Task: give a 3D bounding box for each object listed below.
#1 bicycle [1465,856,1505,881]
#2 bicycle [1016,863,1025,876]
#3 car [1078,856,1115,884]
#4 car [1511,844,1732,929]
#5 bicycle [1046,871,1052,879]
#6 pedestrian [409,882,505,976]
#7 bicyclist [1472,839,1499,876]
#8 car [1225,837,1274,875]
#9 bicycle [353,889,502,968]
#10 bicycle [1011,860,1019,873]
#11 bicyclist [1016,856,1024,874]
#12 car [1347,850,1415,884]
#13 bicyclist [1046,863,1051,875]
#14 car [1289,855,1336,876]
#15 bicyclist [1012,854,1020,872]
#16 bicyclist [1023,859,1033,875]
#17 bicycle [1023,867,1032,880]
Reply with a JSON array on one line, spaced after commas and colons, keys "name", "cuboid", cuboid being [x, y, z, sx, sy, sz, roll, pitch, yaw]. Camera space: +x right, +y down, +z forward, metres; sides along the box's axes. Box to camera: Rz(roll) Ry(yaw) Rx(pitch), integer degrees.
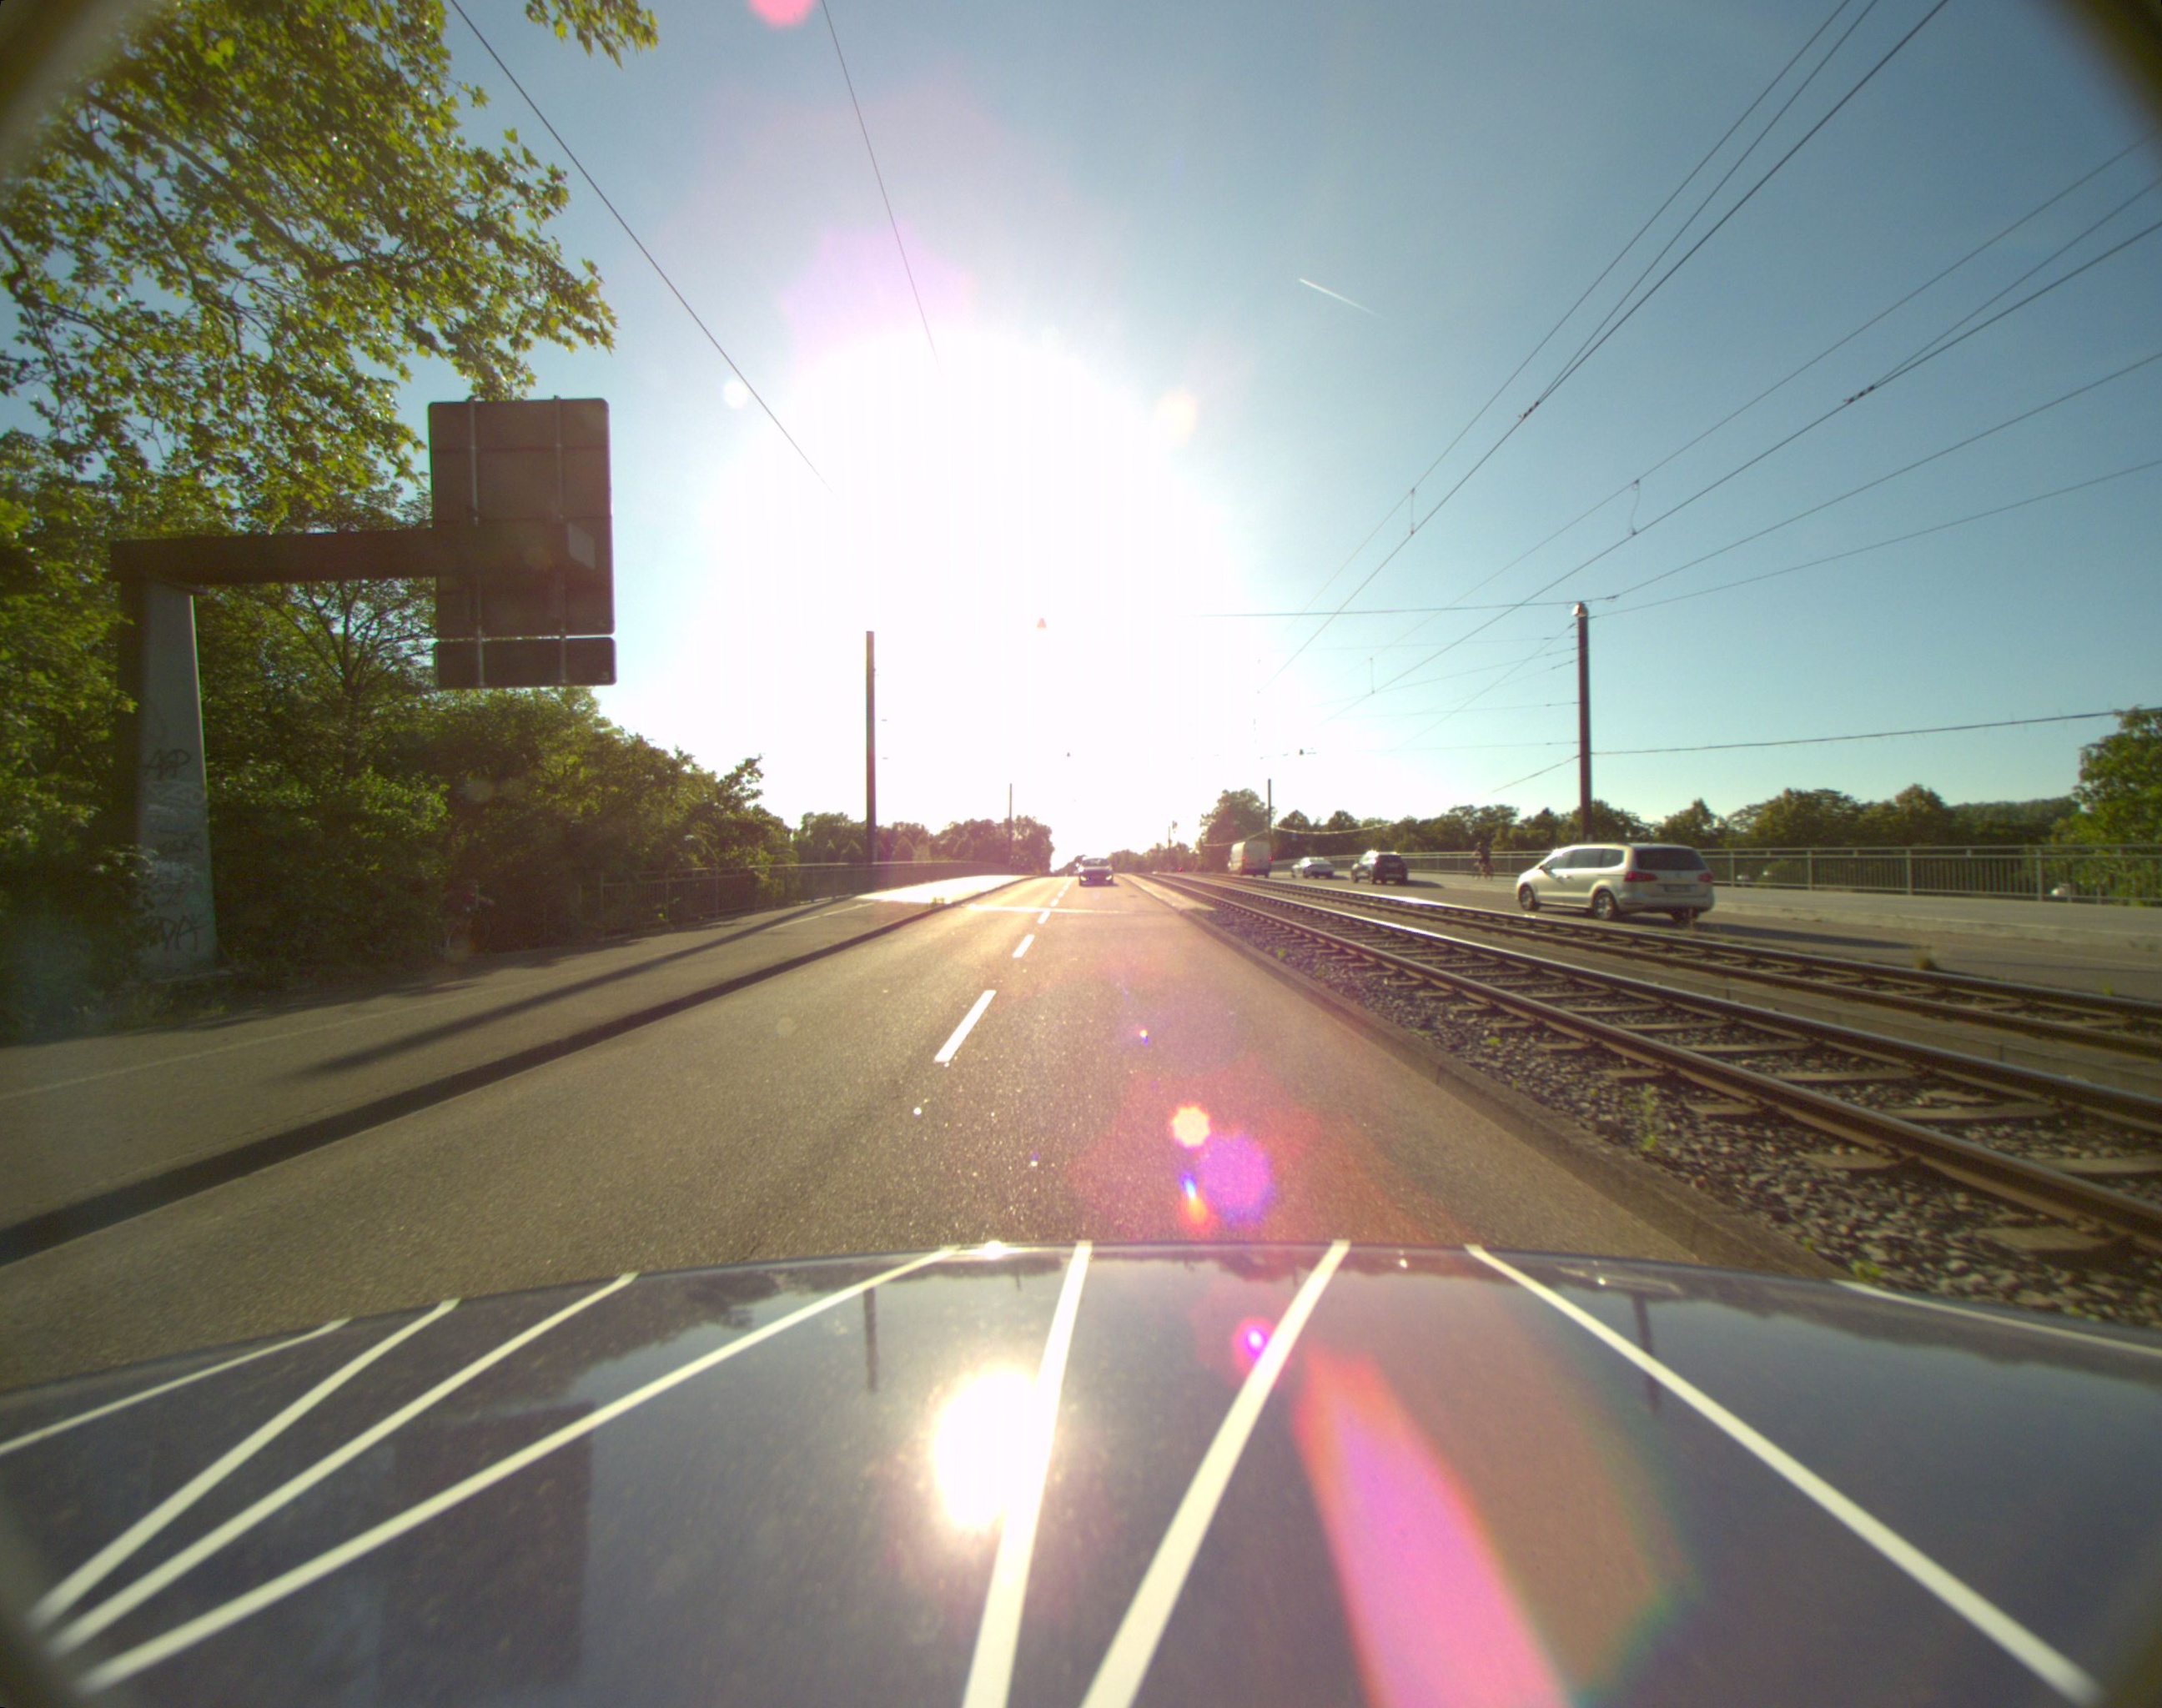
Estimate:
[{"name": "bicycle", "cuboid": [18.502, 0.644, 34.833, 0.681, 1.091, 2.100, -3, 0, 1]}, {"name": "bicycle", "cuboid": [-5.481, 1.419, 69.254, 0.626, 1.115, 2.042, -1, -1, 0]}, {"name": "car", "cuboid": [0.749, 0.853, 38.692, 1.801, 1.345, 4.001, 0, -2, 0]}, {"name": "car", "cuboid": [12.096, 0.657, 17.470, 1.877, 1.655, 4.597, 1, 0, 2]}, {"name": "bicycle", "cuboid": [-4.821, 3.206, 114.650, 0.733, 1.115, 2.742, -3, -2, -3]}, {"name": "pedestrian", "cuboid": [-9.758, 1.147, 11.908, 0.812, 1.387, 0.807, 0, 1, 14]}, {"name": "bicyclist", "cuboid": [18.487, 0.170, 34.753, 0.681, 1.617, 0.890, -3, 0, 1]}, {"name": "car", "cuboid": [12.100, 0.153, 54.972, 2.092, 2.577, 6.040, 0, 0, -1]}, {"name": "bicycle", "cuboid": [-9.982, 1.113, 11.621, 2.038, 1.116, 0.628, 0, 0, 13]}, {"name": "bicycle", "cuboid": [-5.573, 1.068, 64.649, 0.627, 1.115, 2.259, -1, -2, -4]}, {"name": "bicyclist", "cuboid": [-5.527, 1.033, 69.244, 0.626, 1.583, 0.931, -1, -1, 0]}, {"name": "car", "cuboid": [15.510, 0.682, 39.498, 1.784, 1.640, 4.447, 1, -1, 1]}, {"name": "bicyclist", "cuboid": [-4.891, 2.299, 114.697, 0.733, 1.679, 1.202, -3, -2, -3]}, {"name": "car", "cuboid": [15.560, 0.751, 51.227, 1.688, 1.348, 4.920, 1, 0, 1]}, {"name": "bicyclist", "cuboid": [-5.563, 0.766, 64.622, 0.627, 1.499, 1.006, -1, -2, -4]}, {"name": "bicyclist", "cuboid": [-5.138, 1.246, 73.447, 0.814, 1.552, 0.897, -1, -3, 0]}, {"name": "bicycle", "cuboid": [-5.132, 1.904, 73.402, 0.685, 1.115, 2.217, -1, -3, 0]}]
